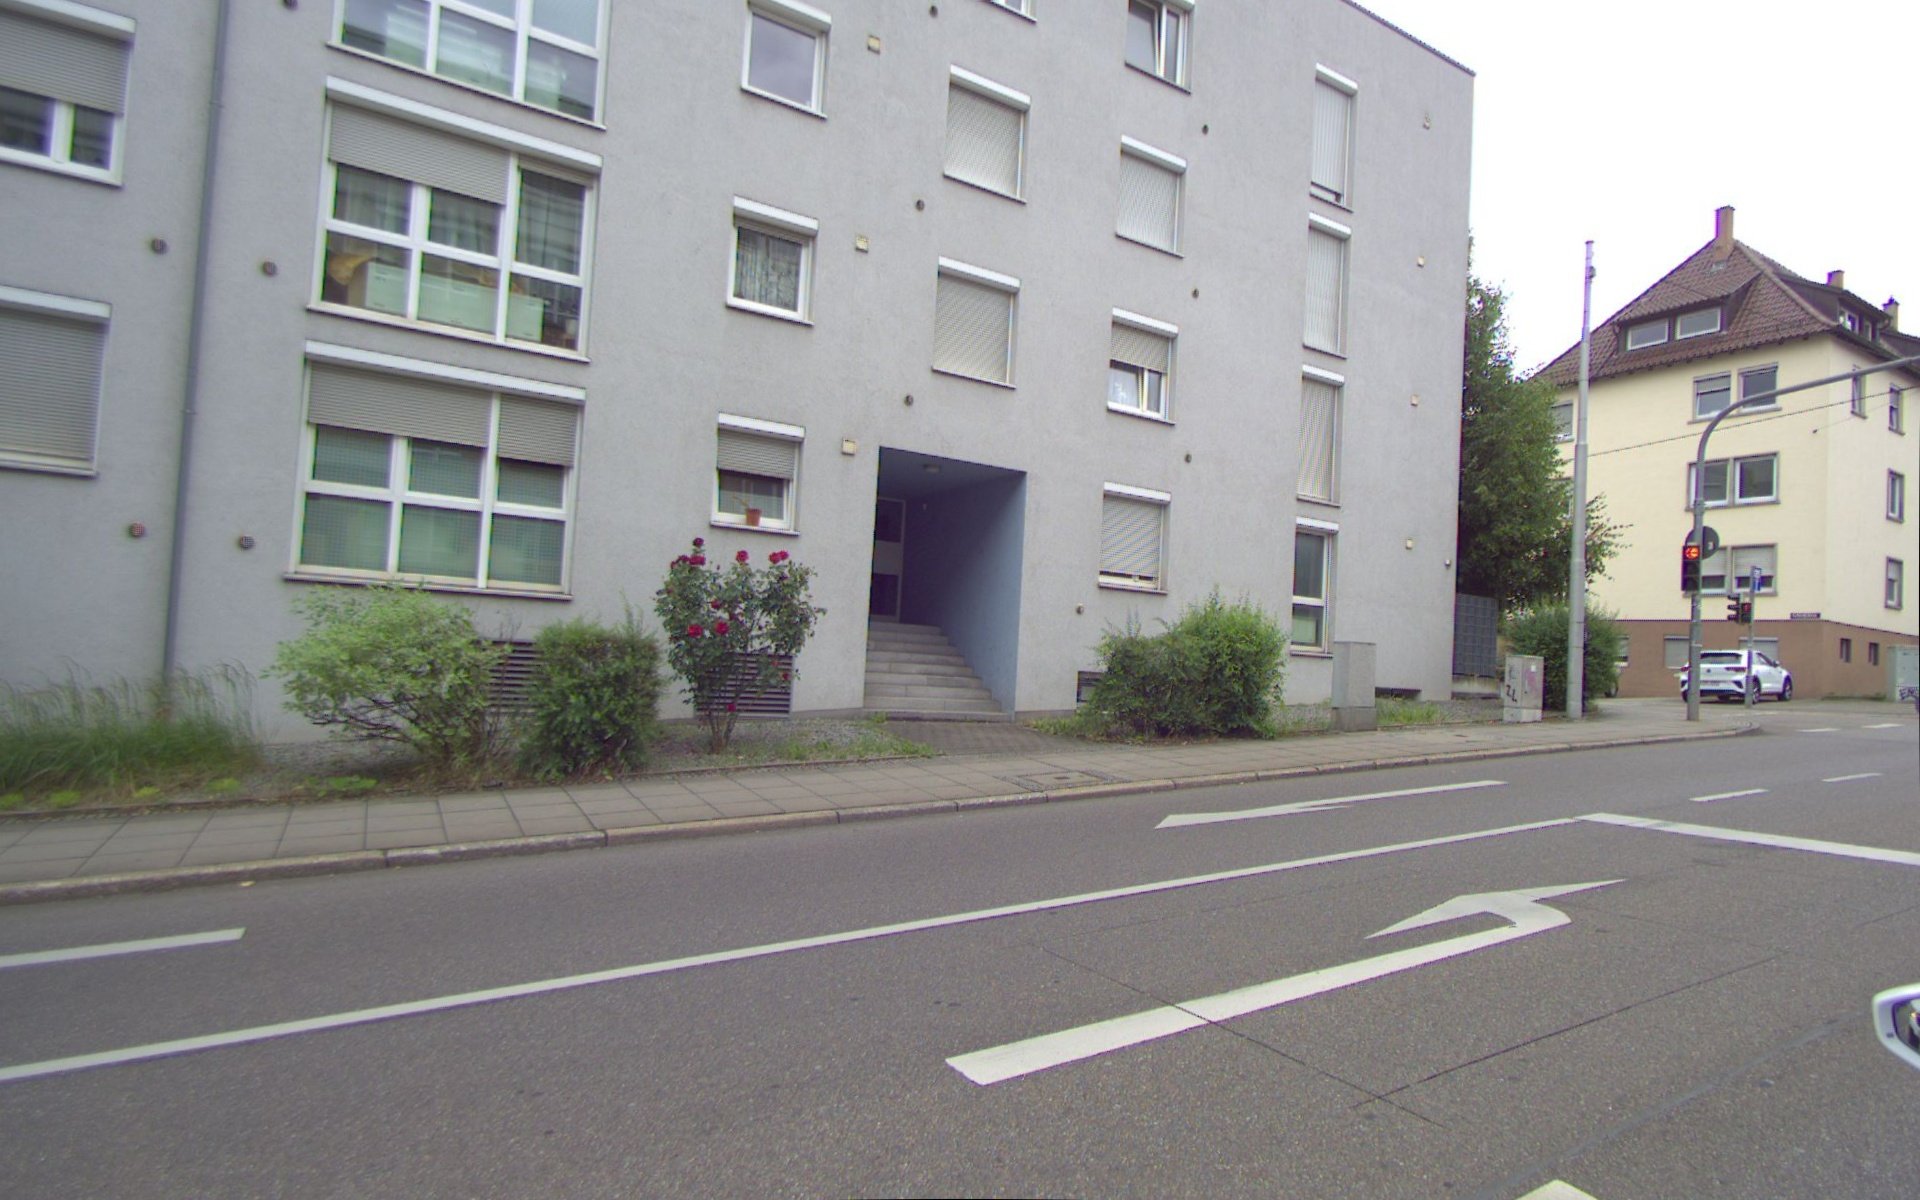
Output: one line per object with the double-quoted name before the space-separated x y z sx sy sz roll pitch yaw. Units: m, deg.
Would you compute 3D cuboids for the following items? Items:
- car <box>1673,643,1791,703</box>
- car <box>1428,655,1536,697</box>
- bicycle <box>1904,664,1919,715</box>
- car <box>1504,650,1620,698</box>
"car" 23.226 2.162 30.177 3.960 1.683 1.660 2 -4 -35
"car" 19.067 2.743 36.657 3.953 1.380 1.662 2 -1 -30
"bicycle" 21.850 2.006 21.824 0.697 1.095 1.889 2 0 -41
"car" 20.676 2.509 34.474 4.053 1.566 1.662 2 -4 -30
